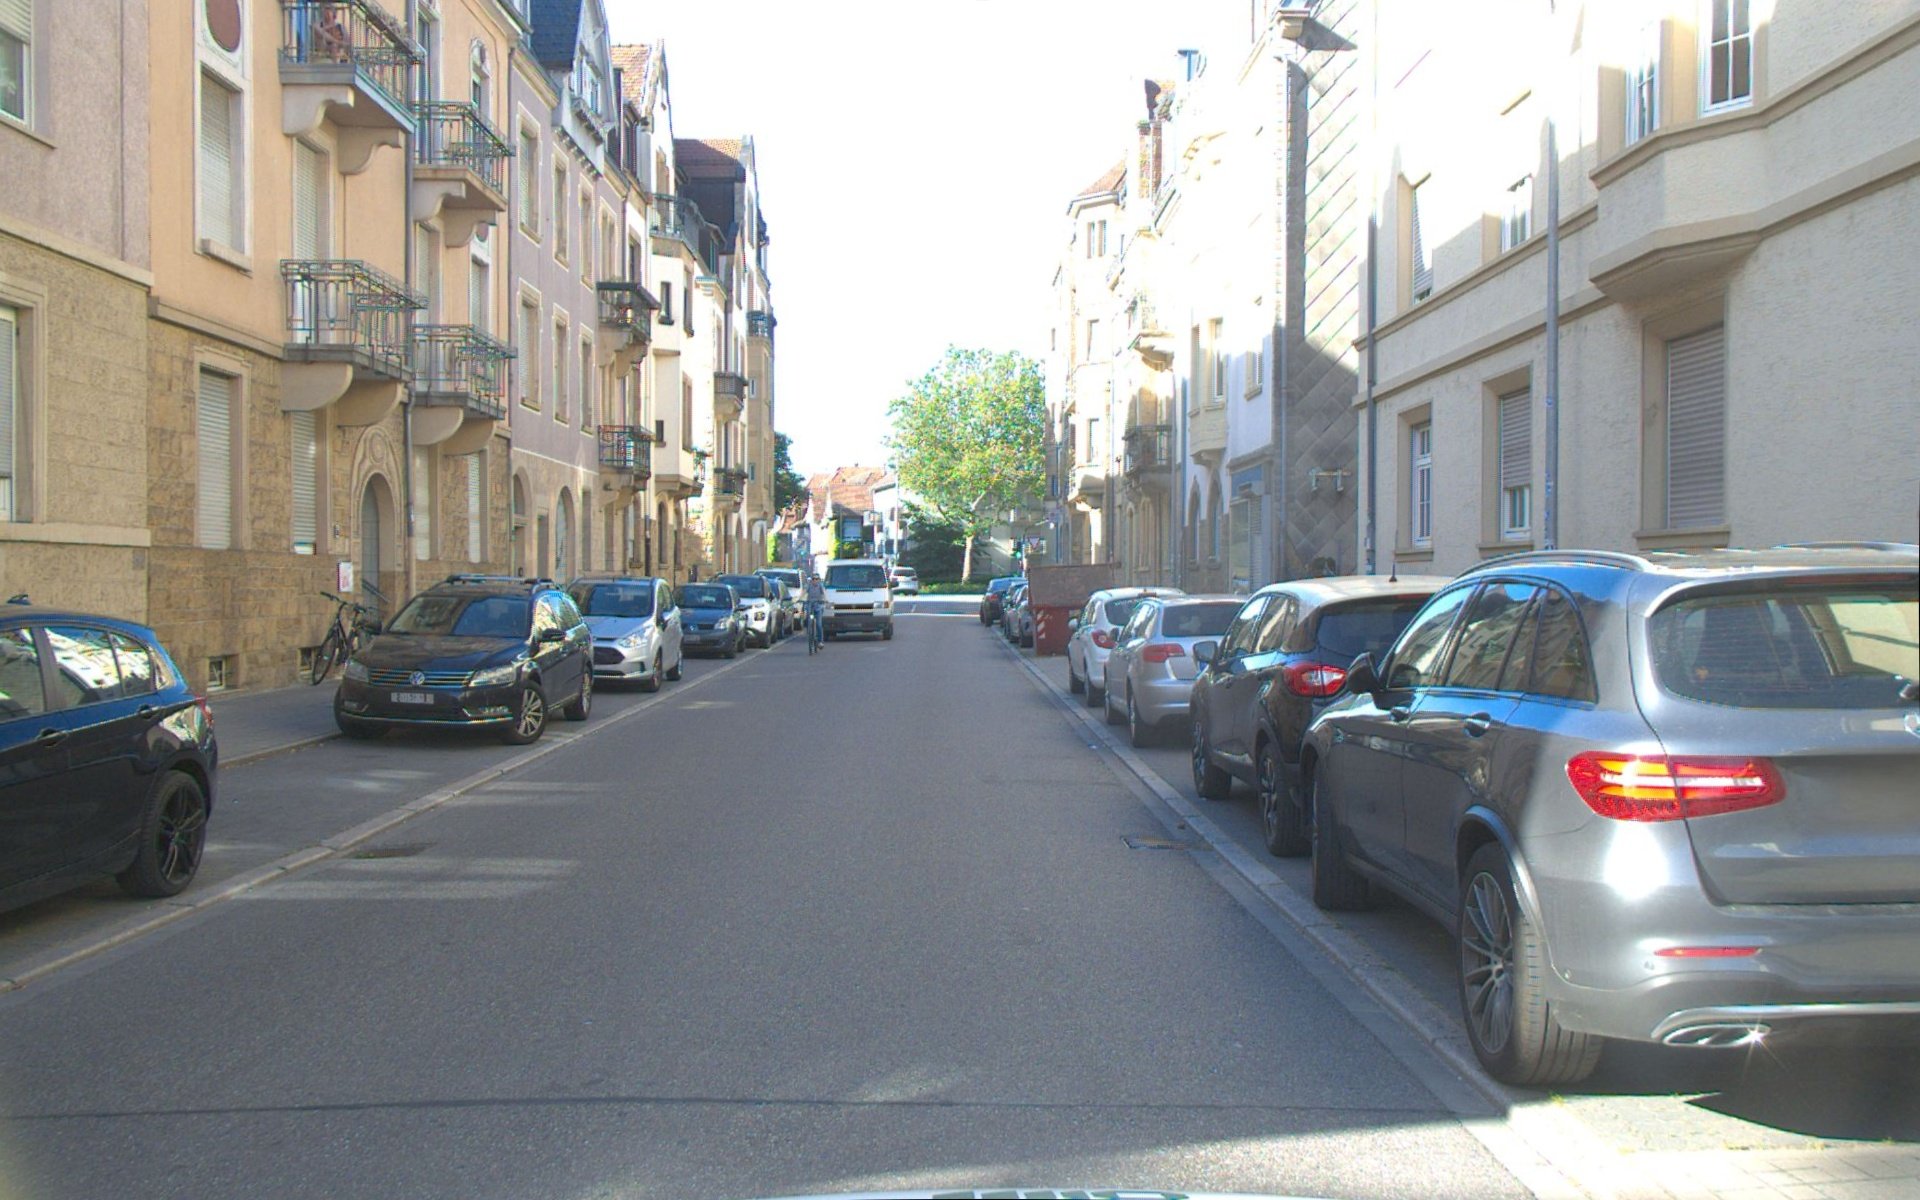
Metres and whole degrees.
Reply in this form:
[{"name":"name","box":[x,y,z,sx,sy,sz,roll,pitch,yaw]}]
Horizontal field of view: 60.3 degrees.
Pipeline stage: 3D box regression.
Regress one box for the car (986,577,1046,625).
[{"name":"car","box":[1.802,0.059,54.268,1.801,1.456,4.028,-1,-1,0]}]

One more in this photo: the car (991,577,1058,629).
[{"name":"car","box":[1.895,0.113,49.707,1.801,1.456,4.028,-1,-1,0]}]

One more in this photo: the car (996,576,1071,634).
[{"name":"car","box":[1.965,0.157,45.139,1.801,1.456,4.028,-1,-1,0]}]

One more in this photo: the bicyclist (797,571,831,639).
[{"name":"bicyclist","box":[-3.076,0.106,34.934,0.649,1.410,0.753,-2,0,-2]}]

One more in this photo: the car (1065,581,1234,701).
[{"name":"car","box":[2.490,0.533,22.658,1.801,1.456,4.028,-1,-1,0]}]

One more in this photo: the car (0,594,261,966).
[{"name":"car","box":[-4.659,0.718,6.818,1.645,1.451,4.274,2,0,1]}]

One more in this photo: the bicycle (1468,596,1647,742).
[{"name":"bicycle","box":[5.721,0.612,16.022,0.746,1.268,2.591,0,1,-1]}]

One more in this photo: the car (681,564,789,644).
[{"name":"car","box":[-5.119,0.084,38.214,1.963,1.647,4.485,2,0,-2]}]

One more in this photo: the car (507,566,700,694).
[{"name":"car","box":[-5.142,0.401,24.489,1.963,1.647,4.485,2,0,-2]}]

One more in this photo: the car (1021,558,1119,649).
[{"name":"car","box":[2.305,0.106,35.450,1.801,1.818,4.028,0,-1,0]}]

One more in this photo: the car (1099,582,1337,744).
[{"name":"car","box":[2.547,0.599,17.268,1.801,1.456,4.028,-1,-1,0]}]

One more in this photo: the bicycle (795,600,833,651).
[{"name":"bicycle","box":[-3.080,0.522,34.993,0.649,1.037,2.066,-2,0,-2]}]

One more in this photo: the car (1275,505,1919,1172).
[{"name":"car","box":[2.614,0.616,6.580,1.874,1.673,4.774,-1,-1,1]}]

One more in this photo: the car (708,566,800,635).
[{"name":"car","box":[-5.383,0.010,43.713,1.963,1.647,4.485,2,0,-2]}]

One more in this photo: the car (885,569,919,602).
[{"name":"car","box":[-3.602,-0.868,103.070,1.963,1.947,4.486,2,0,-1]}]

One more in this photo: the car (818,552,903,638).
[{"name":"car","box":[-2.498,-0.126,42.508,1.963,2.034,4.485,2,0,-2]}]

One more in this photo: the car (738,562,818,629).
[{"name":"car","box":[-5.367,-0.139,49.257,1.963,1.819,4.485,2,0,-2]}]

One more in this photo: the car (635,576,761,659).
[{"name":"car","box":[-5.241,0.323,33.619,1.939,1.508,4.326,2,0,-2]}]

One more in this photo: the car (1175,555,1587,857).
[{"name":"car","box":[2.602,0.609,11.202,1.710,1.636,4.028,-1,-1,0]}]

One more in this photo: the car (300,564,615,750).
[{"name":"car","box":[-5.007,0.510,17.193,1.963,1.610,4.485,2,0,-2]}]

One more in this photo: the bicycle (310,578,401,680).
[{"name":"bicycle","box":[-8.180,0.366,22.437,0.530,1.324,1.867,1,1,0]}]
